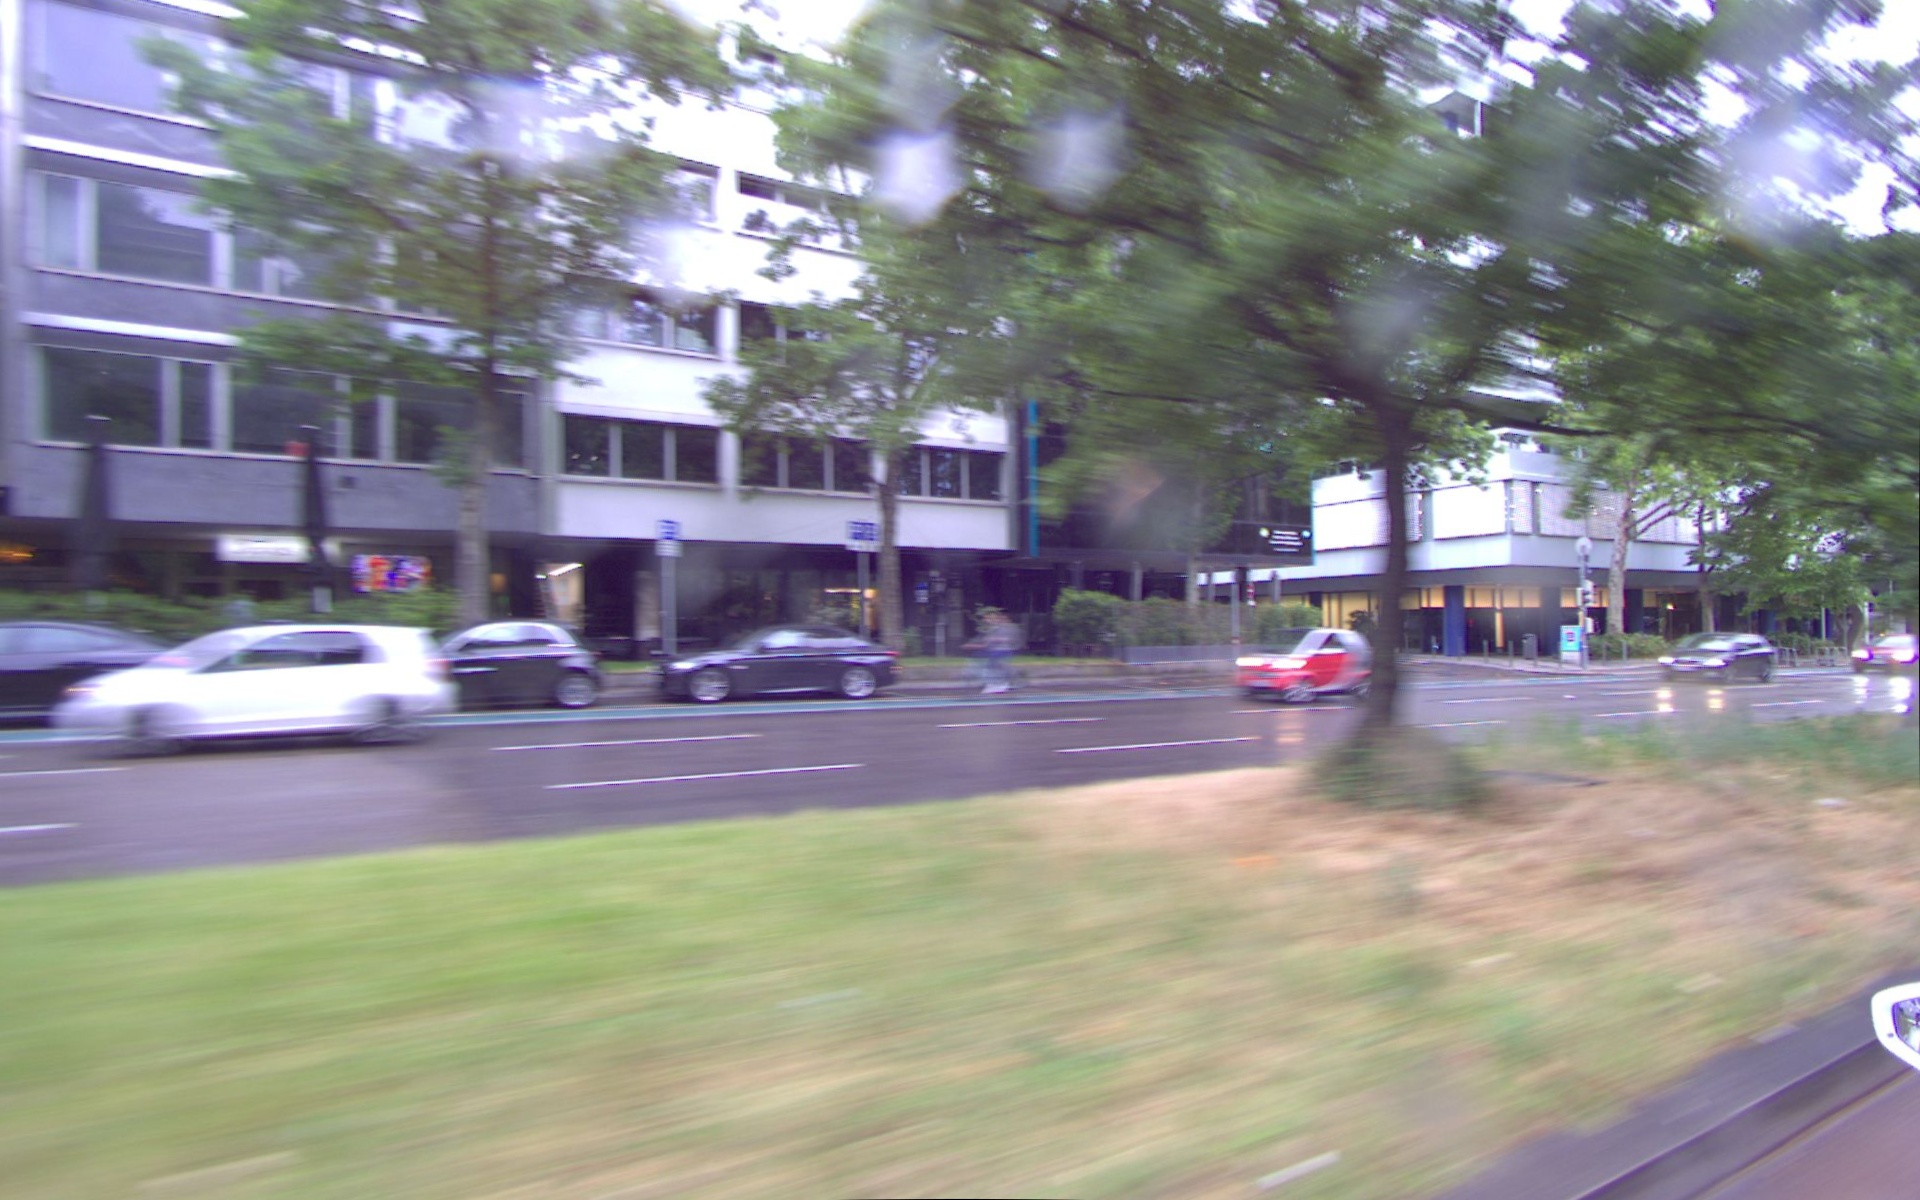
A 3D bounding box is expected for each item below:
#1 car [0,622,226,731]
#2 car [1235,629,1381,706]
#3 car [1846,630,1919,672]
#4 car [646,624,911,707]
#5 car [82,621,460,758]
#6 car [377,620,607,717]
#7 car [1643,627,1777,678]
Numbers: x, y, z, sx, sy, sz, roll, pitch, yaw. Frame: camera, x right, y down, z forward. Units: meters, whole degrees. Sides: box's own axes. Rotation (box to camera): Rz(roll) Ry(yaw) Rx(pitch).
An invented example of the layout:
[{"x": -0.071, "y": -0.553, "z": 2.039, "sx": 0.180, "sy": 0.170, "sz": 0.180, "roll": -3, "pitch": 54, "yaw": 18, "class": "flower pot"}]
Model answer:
[{"x": -13.033, "y": 1.029, "z": 13.969, "sx": 4.405, "sy": 1.428, "sz": 1.684, "roll": 0, "pitch": -1, "yaw": -31, "class": "car"}, {"x": 7.289, "y": 1.359, "z": 21.017, "sx": 2.699, "sy": 1.482, "sz": 1.487, "roll": 1, "pitch": -1, "yaw": -30, "class": "car"}, {"x": 34.753, "y": 1.848, "z": 37.300, "sx": 4.136, "sy": 1.412, "sz": 1.606, "roll": 0, "pitch": -1, "yaw": -31, "class": "car"}, {"x": -3.492, "y": 1.203, "z": 19.701, "sx": 4.848, "sy": 1.428, "sz": 1.684, "roll": 0, "pitch": -1, "yaw": -31, "class": "car"}, {"x": -8.250, "y": 0.992, "z": 12.406, "sx": 3.601, "sy": 1.448, "sz": 1.834, "roll": 1, "pitch": -1, "yaw": -31, "class": "car"}, {"x": -7.956, "y": 1.088, "z": 17.106, "sx": 3.420, "sy": 1.488, "sz": 1.684, "roll": 0, "pitch": -1, "yaw": -31, "class": "car"}, {"x": 22.250, "y": 1.501, "z": 29.771, "sx": 3.954, "sy": 1.408, "sz": 1.834, "roll": 1, "pitch": -1, "yaw": -31, "class": "car"}]
